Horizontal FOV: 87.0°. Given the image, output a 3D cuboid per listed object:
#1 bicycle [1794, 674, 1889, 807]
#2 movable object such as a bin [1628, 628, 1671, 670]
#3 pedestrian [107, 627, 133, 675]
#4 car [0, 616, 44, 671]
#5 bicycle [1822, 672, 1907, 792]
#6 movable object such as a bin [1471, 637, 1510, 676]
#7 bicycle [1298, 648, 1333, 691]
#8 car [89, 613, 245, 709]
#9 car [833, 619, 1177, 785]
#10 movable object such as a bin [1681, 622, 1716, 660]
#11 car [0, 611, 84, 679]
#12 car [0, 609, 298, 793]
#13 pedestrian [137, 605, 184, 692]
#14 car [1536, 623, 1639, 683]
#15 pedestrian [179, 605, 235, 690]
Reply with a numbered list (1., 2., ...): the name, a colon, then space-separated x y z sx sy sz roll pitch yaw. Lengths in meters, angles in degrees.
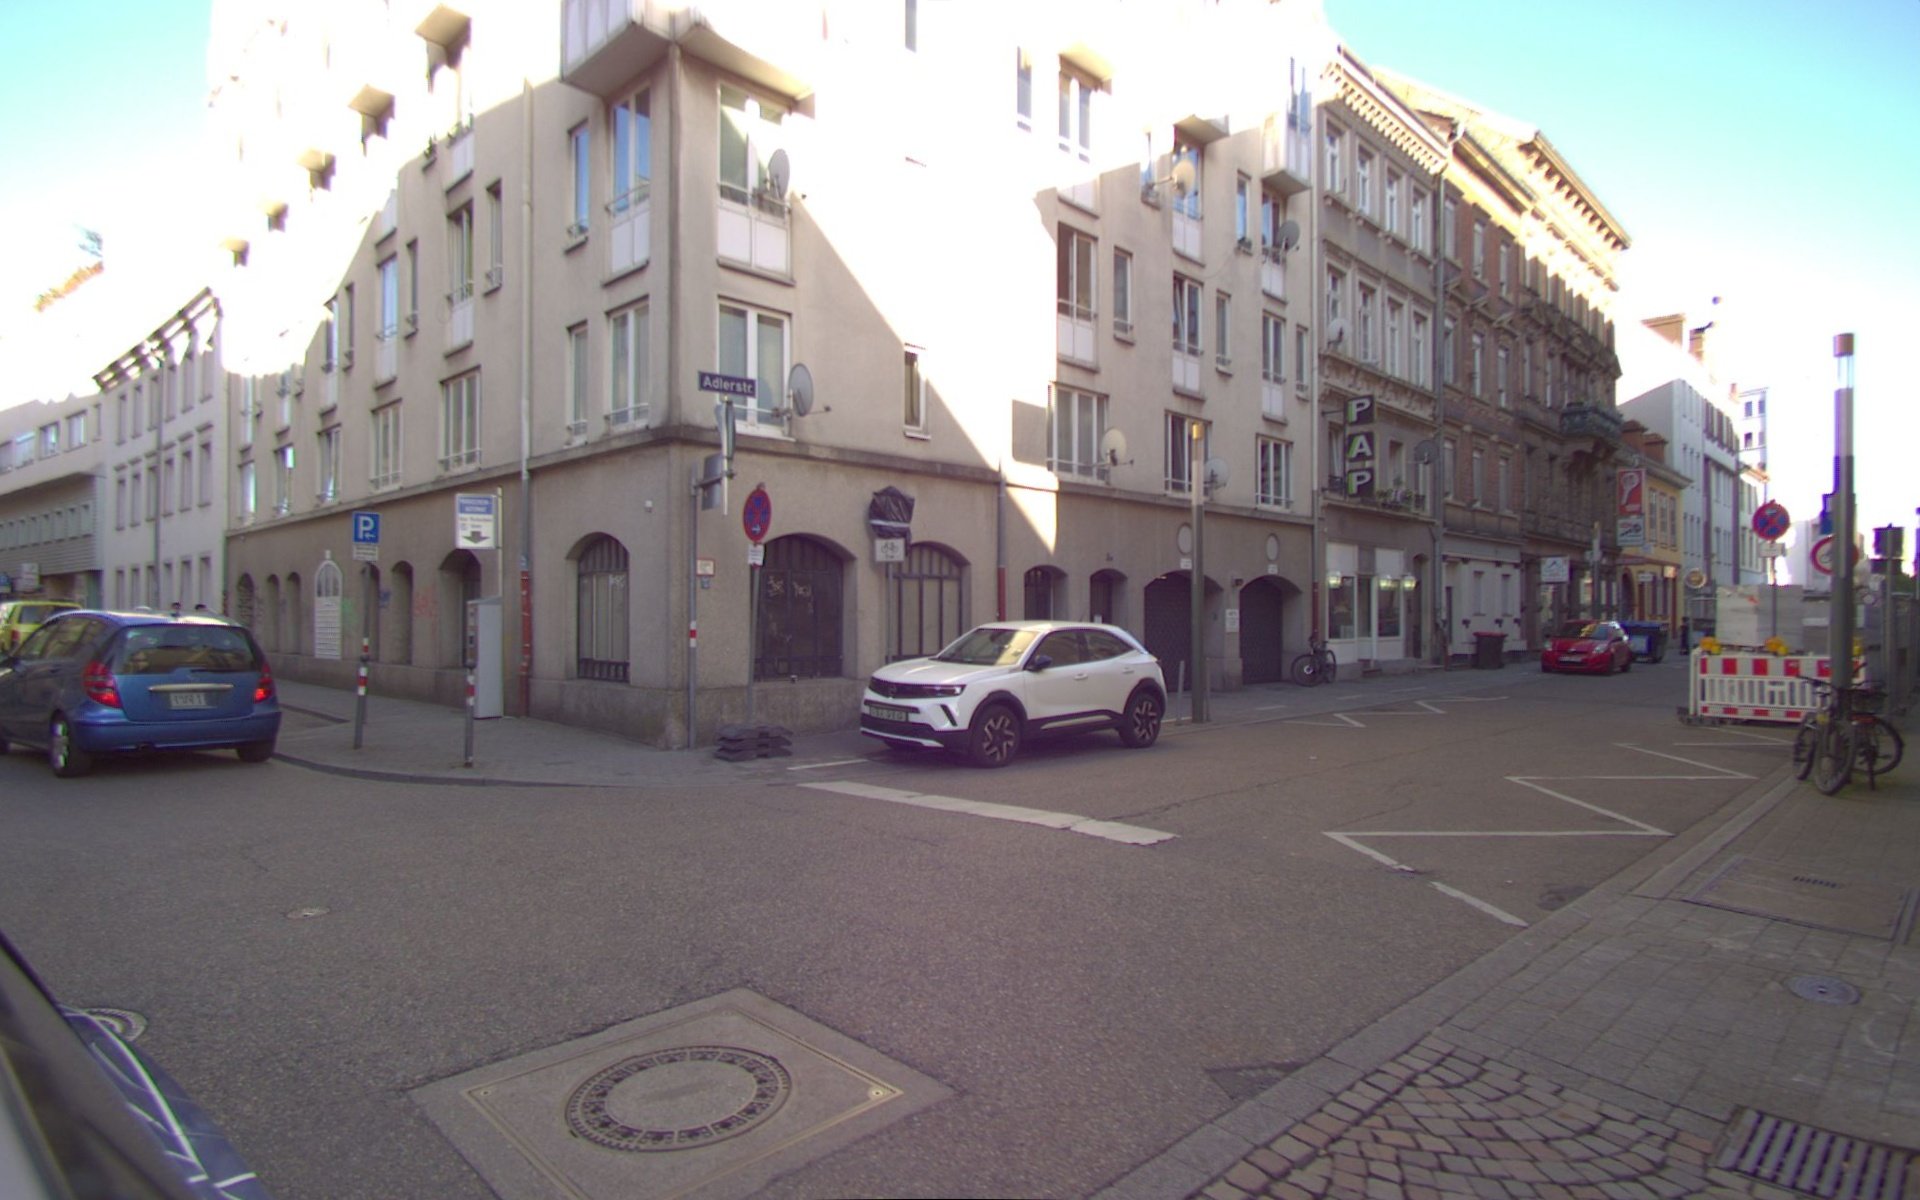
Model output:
1. bicycle: 8.260 1.265 9.531 0.301 1.058 1.774 0 -2 29
2. movable object such as a bin: 23.892 1.685 35.066 1.083 1.359 0.895 1 -1 43
3. pedestrian: -25.718 1.553 30.995 0.548 1.459 0.584 2 -2 -38
4. car: -33.218 1.443 34.778 3.996 1.781 1.865 0 -4 39
5. bicycle: 9.088 1.286 10.209 0.301 1.058 1.527 0 -2 29
6. movable object such as a bin: 15.213 1.600 29.014 0.837 1.056 0.744 0 0 41
7. bicycle: 7.777 1.510 22.146 1.048 0.864 0.219 -1 0 -40
8. car: -15.796 1.124 20.084 4.001 1.717 1.862 -1 -2 44
9. car: 0.641 1.086 11.946 3.907 1.605 1.746 3 -2 -41
10. movable object such as a bin: 30.992 1.711 42.459 1.083 1.555 0.895 1 -1 43
11. car: -28.250 1.291 30.703 3.996 1.888 1.865 0 0 39
12. car: -8.893 0.979 10.710 3.797 1.605 1.835 -2 -4 35
13. pedestrian: -18.979 1.135 24.035 0.698 2.029 0.706 -1 -2 41
14. car: 17.879 1.466 28.776 1.794 1.536 3.944 1 -1 42
15. pedestrian: -18.438 1.161 24.799 0.698 2.029 0.925 -1 -2 41
